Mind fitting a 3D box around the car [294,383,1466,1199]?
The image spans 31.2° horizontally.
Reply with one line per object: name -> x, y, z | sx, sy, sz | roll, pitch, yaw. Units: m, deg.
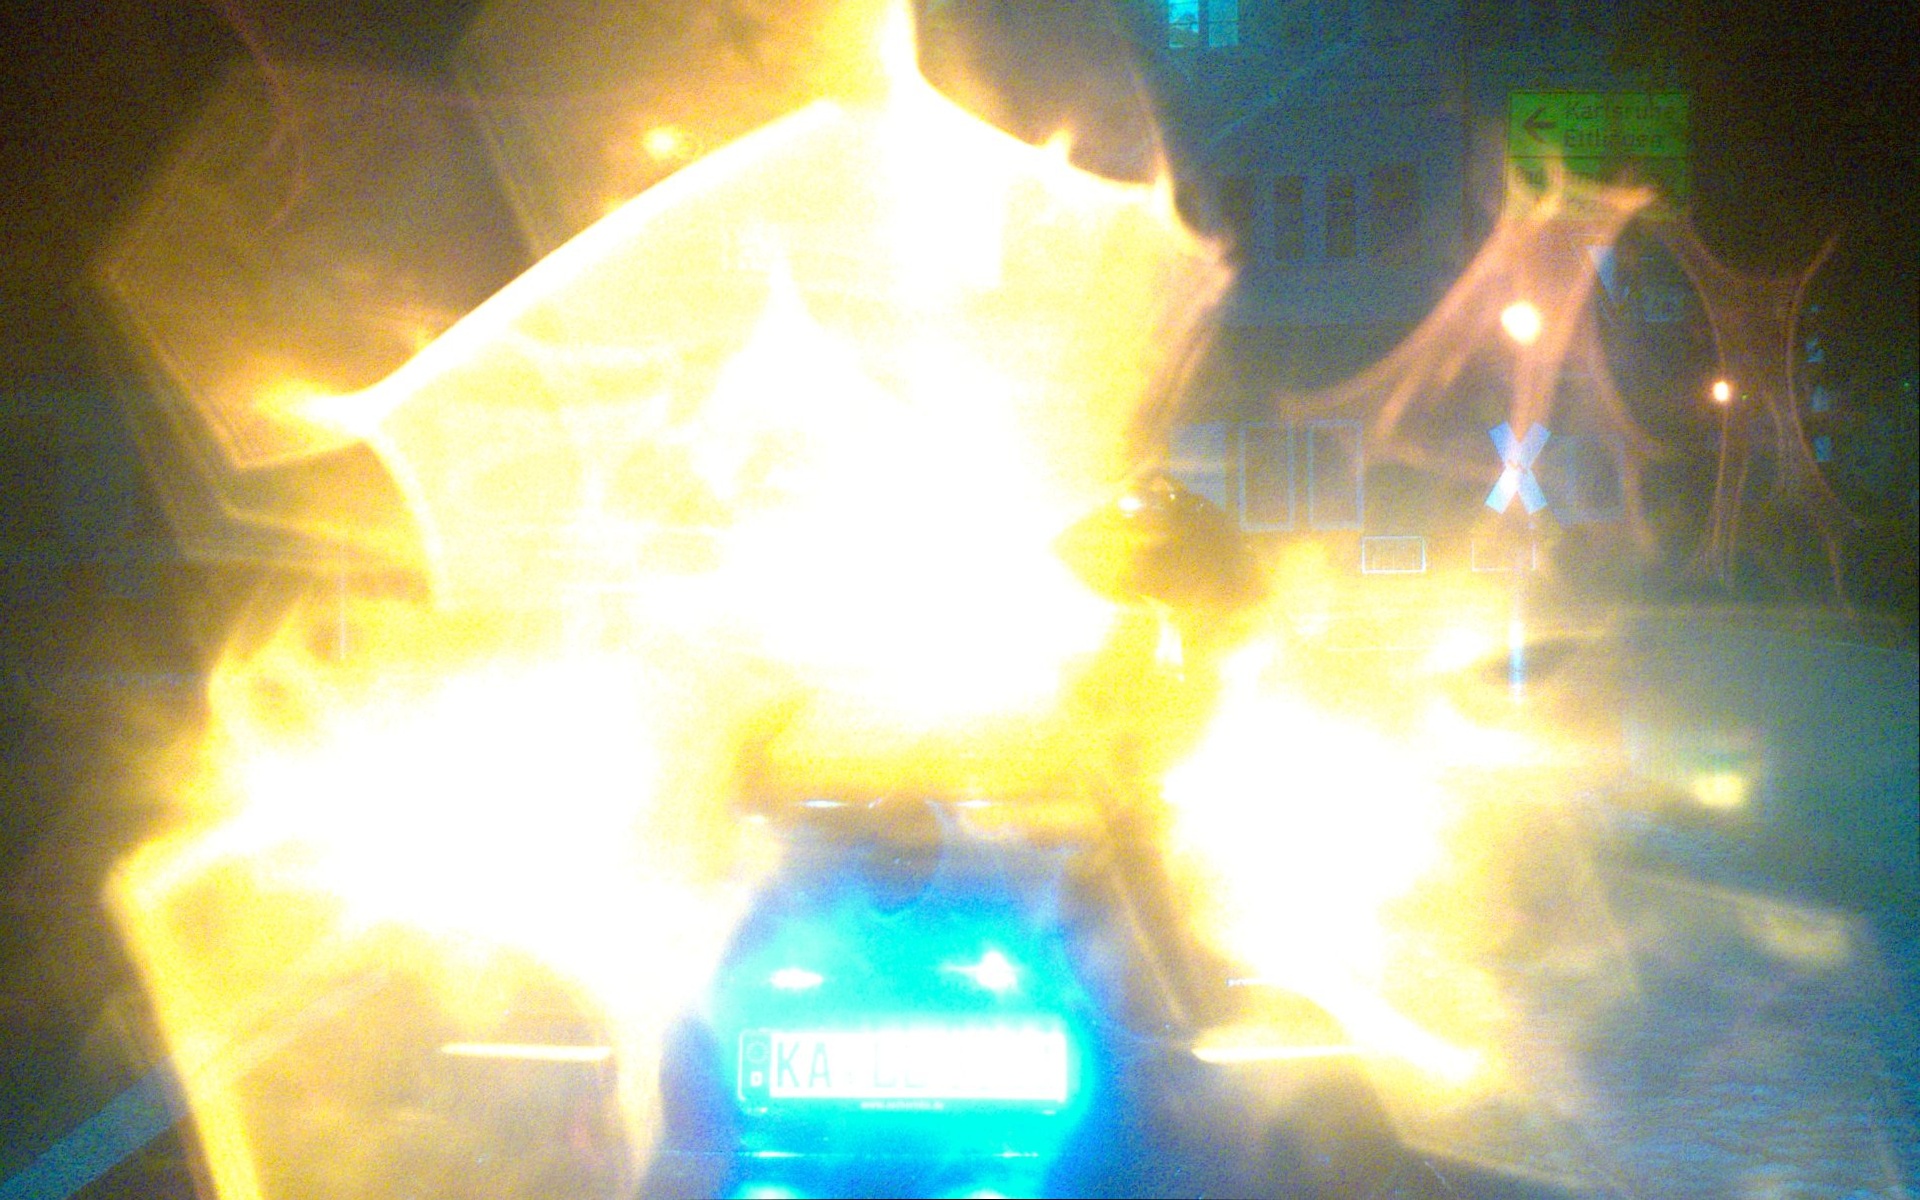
car -> -0.102, 0.451, 7.225 | 1.791, 1.675, 3.905 | 0, 2, 1

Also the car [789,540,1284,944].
car -> 0.370, 0.472, 14.179 | 1.744, 1.410, 4.000 | 0, 1, 3
